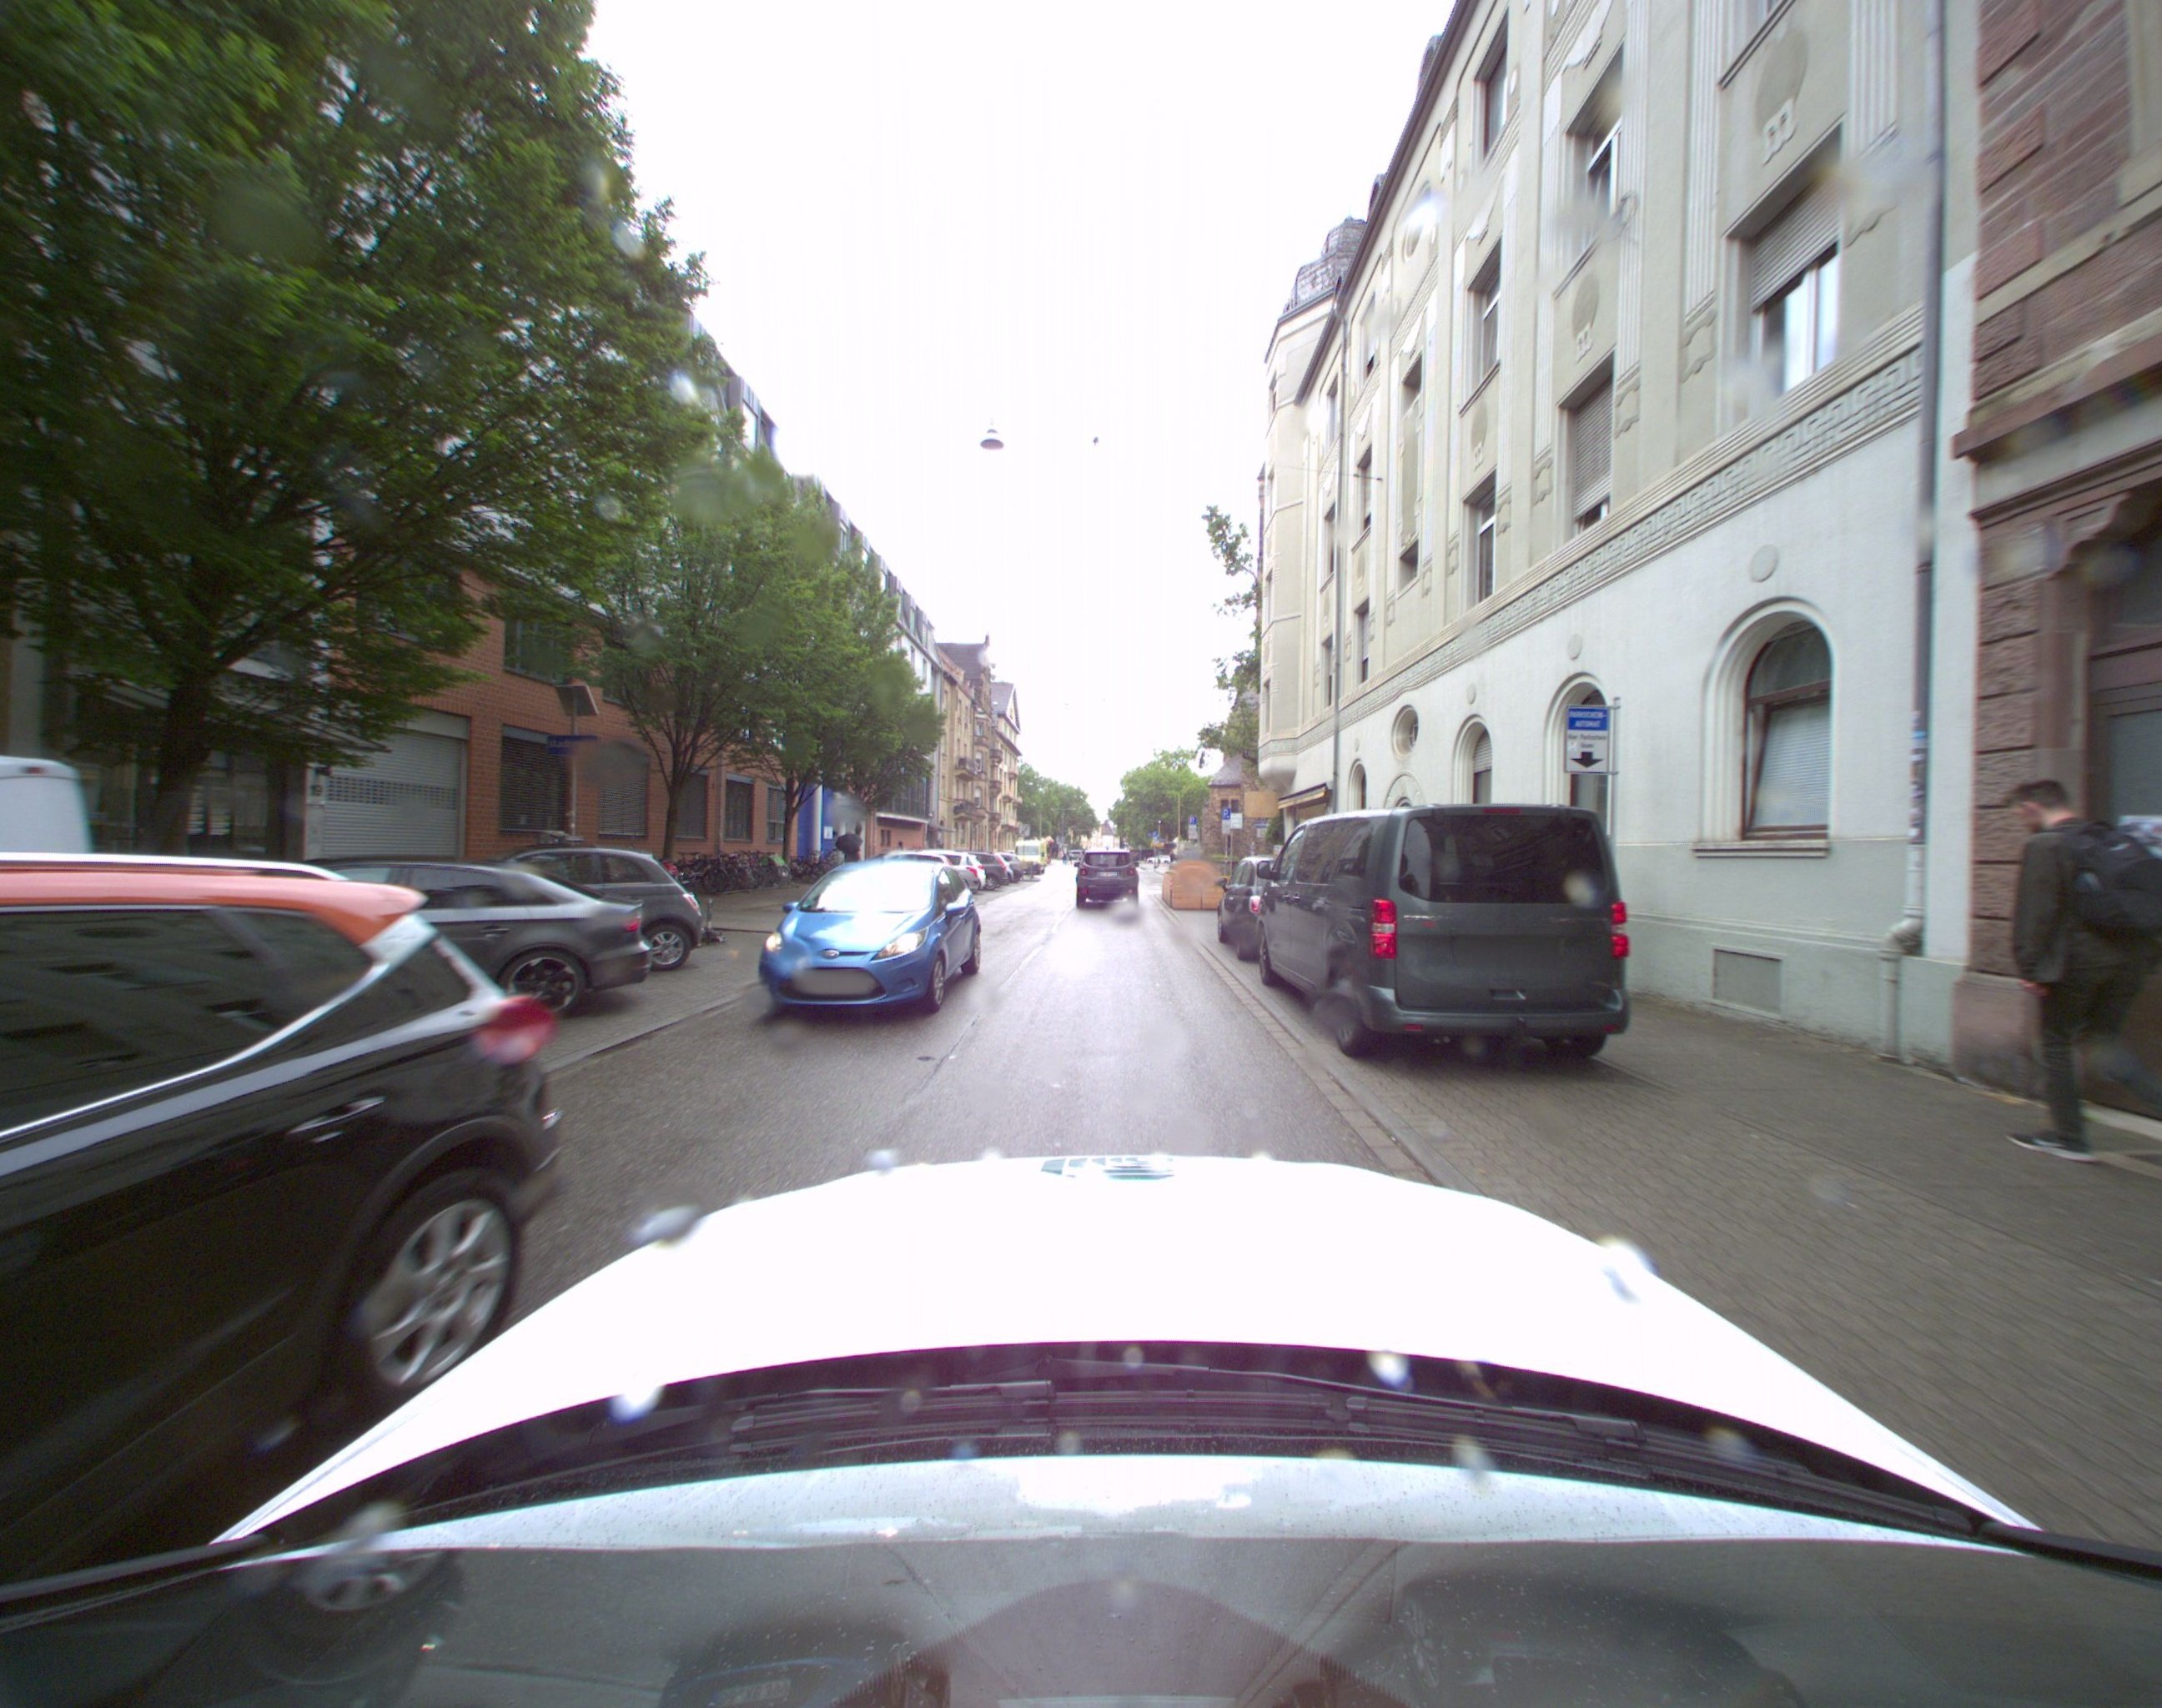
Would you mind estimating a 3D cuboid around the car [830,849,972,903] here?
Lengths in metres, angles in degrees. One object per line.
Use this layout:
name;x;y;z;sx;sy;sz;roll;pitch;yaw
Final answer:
car;-5.260;0.603;23.921;3.728;1.452;1.668;0;0;-33

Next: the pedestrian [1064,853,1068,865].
pedestrian;-1.988;0.623;109.630;0.466;1.585;0.752;1;0;1

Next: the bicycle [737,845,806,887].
bicycle;-9.930;0.379;26.157;1.890;1.152;0.553;5;0;-1

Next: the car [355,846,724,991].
car;-6.388;0.640;9.828;3.498;1.435;1.632;0;0;-41

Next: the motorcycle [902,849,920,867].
motorcycle;-11.362;0.275;54.574;0.751;1.174;2.114;4;0;-2

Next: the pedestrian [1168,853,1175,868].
pedestrian;9.974;0.711;89.434;0.688;1.711;0.684;0;0;2

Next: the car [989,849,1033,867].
car;-6.533;0.403;76.416;3.679;1.558;1.780;3;-1;-34

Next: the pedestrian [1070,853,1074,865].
pedestrian;-1.256;0.687;110.192;0.466;1.585;0.752;1;0;1

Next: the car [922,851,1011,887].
car;-4.972;0.647;35.455;3.397;1.458;1.664;2;0;-32

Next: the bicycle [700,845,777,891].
bicycle;-9.964;0.392;23.694;1.890;1.152;0.553;5;0;-1

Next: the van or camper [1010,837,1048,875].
van or camper;-3.792;0.255;60.580;2.113;2.531;6.876;-3;-2;2

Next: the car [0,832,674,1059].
car;-5.968;0.648;7.123;3.997;1.447;1.748;3;0;-38

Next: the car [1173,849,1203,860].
car;21.747;0.070;165.827;5.875;2.334;2.063;0;0;5

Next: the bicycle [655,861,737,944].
bicycle;-6.190;0.738;13.206;0.749;1.157;2.210;2;1;-14

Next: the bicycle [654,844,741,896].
bicycle;-9.999;0.407;21.245;1.890;1.152;0.553;5;0;-1

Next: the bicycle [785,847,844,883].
bicycle;-9.829;0.405;30.110;1.890;1.152;0.553;5;0;-1

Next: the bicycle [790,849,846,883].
bicycle;-10.218;0.450;31.720;1.890;1.152;0.553;5;0;-1

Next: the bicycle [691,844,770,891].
bicycle;-9.943;0.374;23.135;1.890;1.152;0.553;5;0;-1

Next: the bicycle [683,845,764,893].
bicycle;-9.908;0.404;22.599;1.890;1.152;0.553;5;0;-1

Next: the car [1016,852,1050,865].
car;-5.568;0.544;94.868;3.435;1.316;1.762;3;-1;-32

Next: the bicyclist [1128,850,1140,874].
bicyclist;3.149;0.473;48.461;0.702;1.403;1.172;0;0;2

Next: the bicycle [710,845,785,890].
bicycle;-9.891;0.409;24.165;1.890;1.152;0.553;5;0;-1

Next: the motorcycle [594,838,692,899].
motorcycle;-10.277;0.337;19.115;1.873;1.225;0.657;5;0;5

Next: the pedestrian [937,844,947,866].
pedestrian;-10.881;0.090;63.683;0.663;1.757;0.791;0;0;-22

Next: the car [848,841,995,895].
car;-5.658;0.518;29.032;4.539;1.539;2.315;5;-3;-31

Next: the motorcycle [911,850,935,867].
motorcycle;-11.008;0.324;56.690;0.748;1.174;2.123;3;0;14

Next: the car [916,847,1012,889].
car;-4.678;0.565;32.585;3.395;1.542;1.665;2;0;-29

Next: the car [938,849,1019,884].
car;-4.805;0.596;38.141;3.395;1.507;1.665;2;0;-29

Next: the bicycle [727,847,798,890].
bicycle;-9.983;0.452;25.533;1.890;1.152;0.553;5;0;-1

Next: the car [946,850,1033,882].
car;-4.594;0.596;40.922;3.840;1.507;1.971;2;0;-29

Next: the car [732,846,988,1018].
car;-2.143;0.681;9.057;1.664;1.465;4.004;1;0;1

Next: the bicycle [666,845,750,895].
bicycle;-9.963;0.425;21.776;1.890;1.152;0.553;5;0;-1

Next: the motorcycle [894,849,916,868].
motorcycle;-11.327;0.301;52.419;0.750;1.174;2.117;3;0;3

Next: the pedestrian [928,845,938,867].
pedestrian;-11.526;0.155;63.408;0.663;1.675;0.791;0;0;-22

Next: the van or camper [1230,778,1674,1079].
van or camper;2.796;0.466;7.658;2.014;1.891;5.057;0;0;2

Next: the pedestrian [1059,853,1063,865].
pedestrian;-2.716;0.621;108.978;0.466;1.585;0.659;1;0;1

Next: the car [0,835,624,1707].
car;-2.538;0.733;0.996;1.664;1.559;4.002;1;0;0

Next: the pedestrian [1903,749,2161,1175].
pedestrian;4.884;0.493;4.123;0.674;1.934;0.813;0;-1;12

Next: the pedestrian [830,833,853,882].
pedestrian;-8.388;0.133;28.531;0.609;1.707;0.433;1;-2;2

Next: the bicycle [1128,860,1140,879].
bicycle;3.144;0.919;48.459;0.702;1.054;1.814;0;0;2

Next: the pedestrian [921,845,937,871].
pedestrian;-9.255;0.262;49.751;0.705;1.551;0.609;3;0;9

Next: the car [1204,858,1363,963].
car;3.048;0.783;12.992;1.704;1.400;3.706;0;0;1

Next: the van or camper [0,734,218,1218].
van or camper;-6.677;0.370;2.826;4.721;1.953;2.310;3;1;-40

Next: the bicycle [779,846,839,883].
bicycle;-9.807;0.382;29.397;1.890;1.152;0.553;5;0;-1

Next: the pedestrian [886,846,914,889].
pedestrian;-7.682;0.572;34.635;0.820;1.752;0.759;3;0;9

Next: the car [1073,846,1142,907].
car;0.775;0.618;24.762;1.892;1.671;4.506;1;0;1

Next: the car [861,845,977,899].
car;-5.275;0.551;26.636;3.397;1.654;1.618;0;0;-31

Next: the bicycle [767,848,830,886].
bicycle;-9.829;0.455;28.405;1.890;1.152;0.553;5;0;-1

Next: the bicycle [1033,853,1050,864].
bicycle;-5.101;0.598;105.276;2.098;1.444;0.487;0;0;-18
